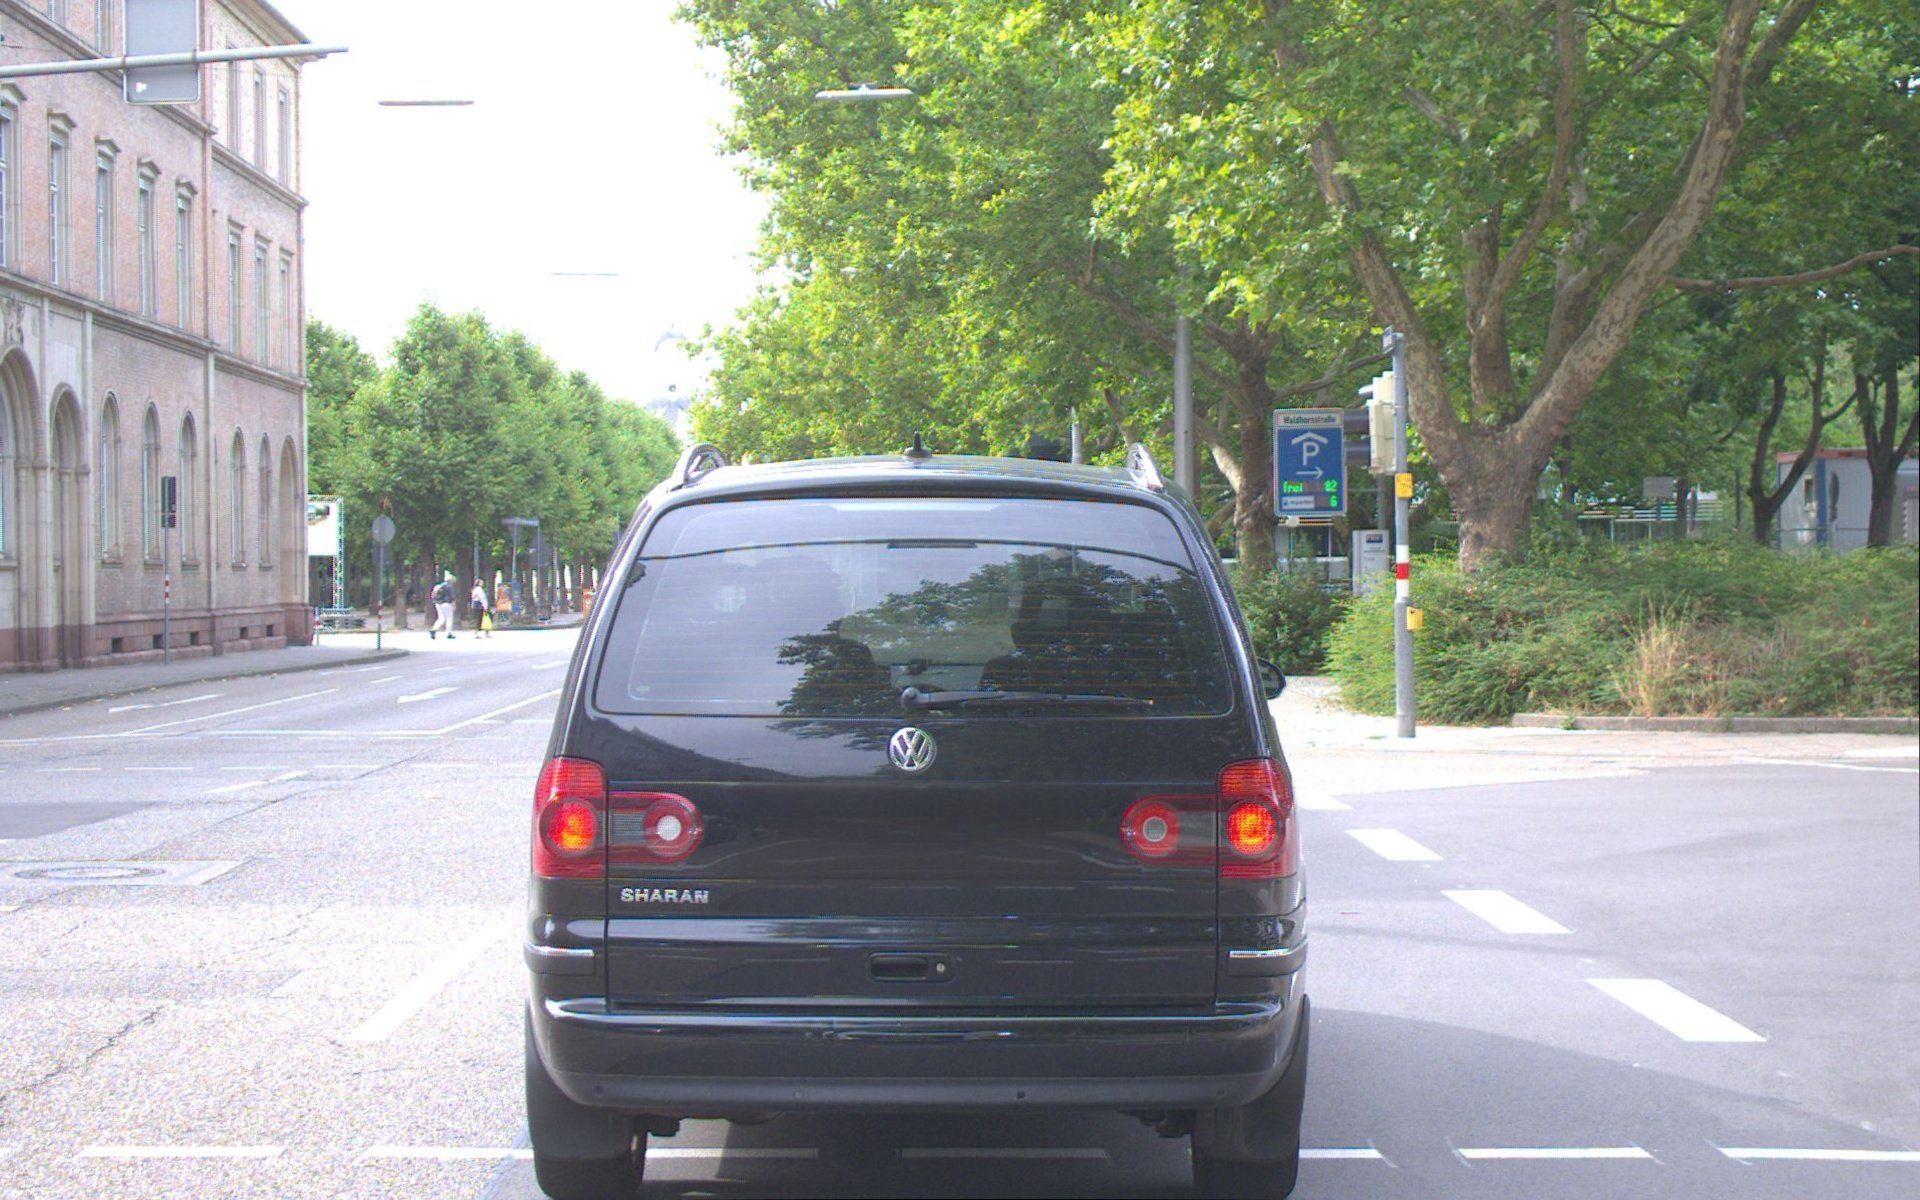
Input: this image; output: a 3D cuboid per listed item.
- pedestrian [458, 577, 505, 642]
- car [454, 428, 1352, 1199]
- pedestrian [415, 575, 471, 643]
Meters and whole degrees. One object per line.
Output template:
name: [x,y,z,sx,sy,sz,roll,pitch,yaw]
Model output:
pedestrian: [-12.409,0.245,89.100,0.896,1.636,0.852,1,0,17]
car: [-0.167,0.497,8.999,1.793,1.702,4.131,-1,0,-2]
pedestrian: [-13.449,0.230,89.421,0.961,1.735,1.255,1,0,17]
